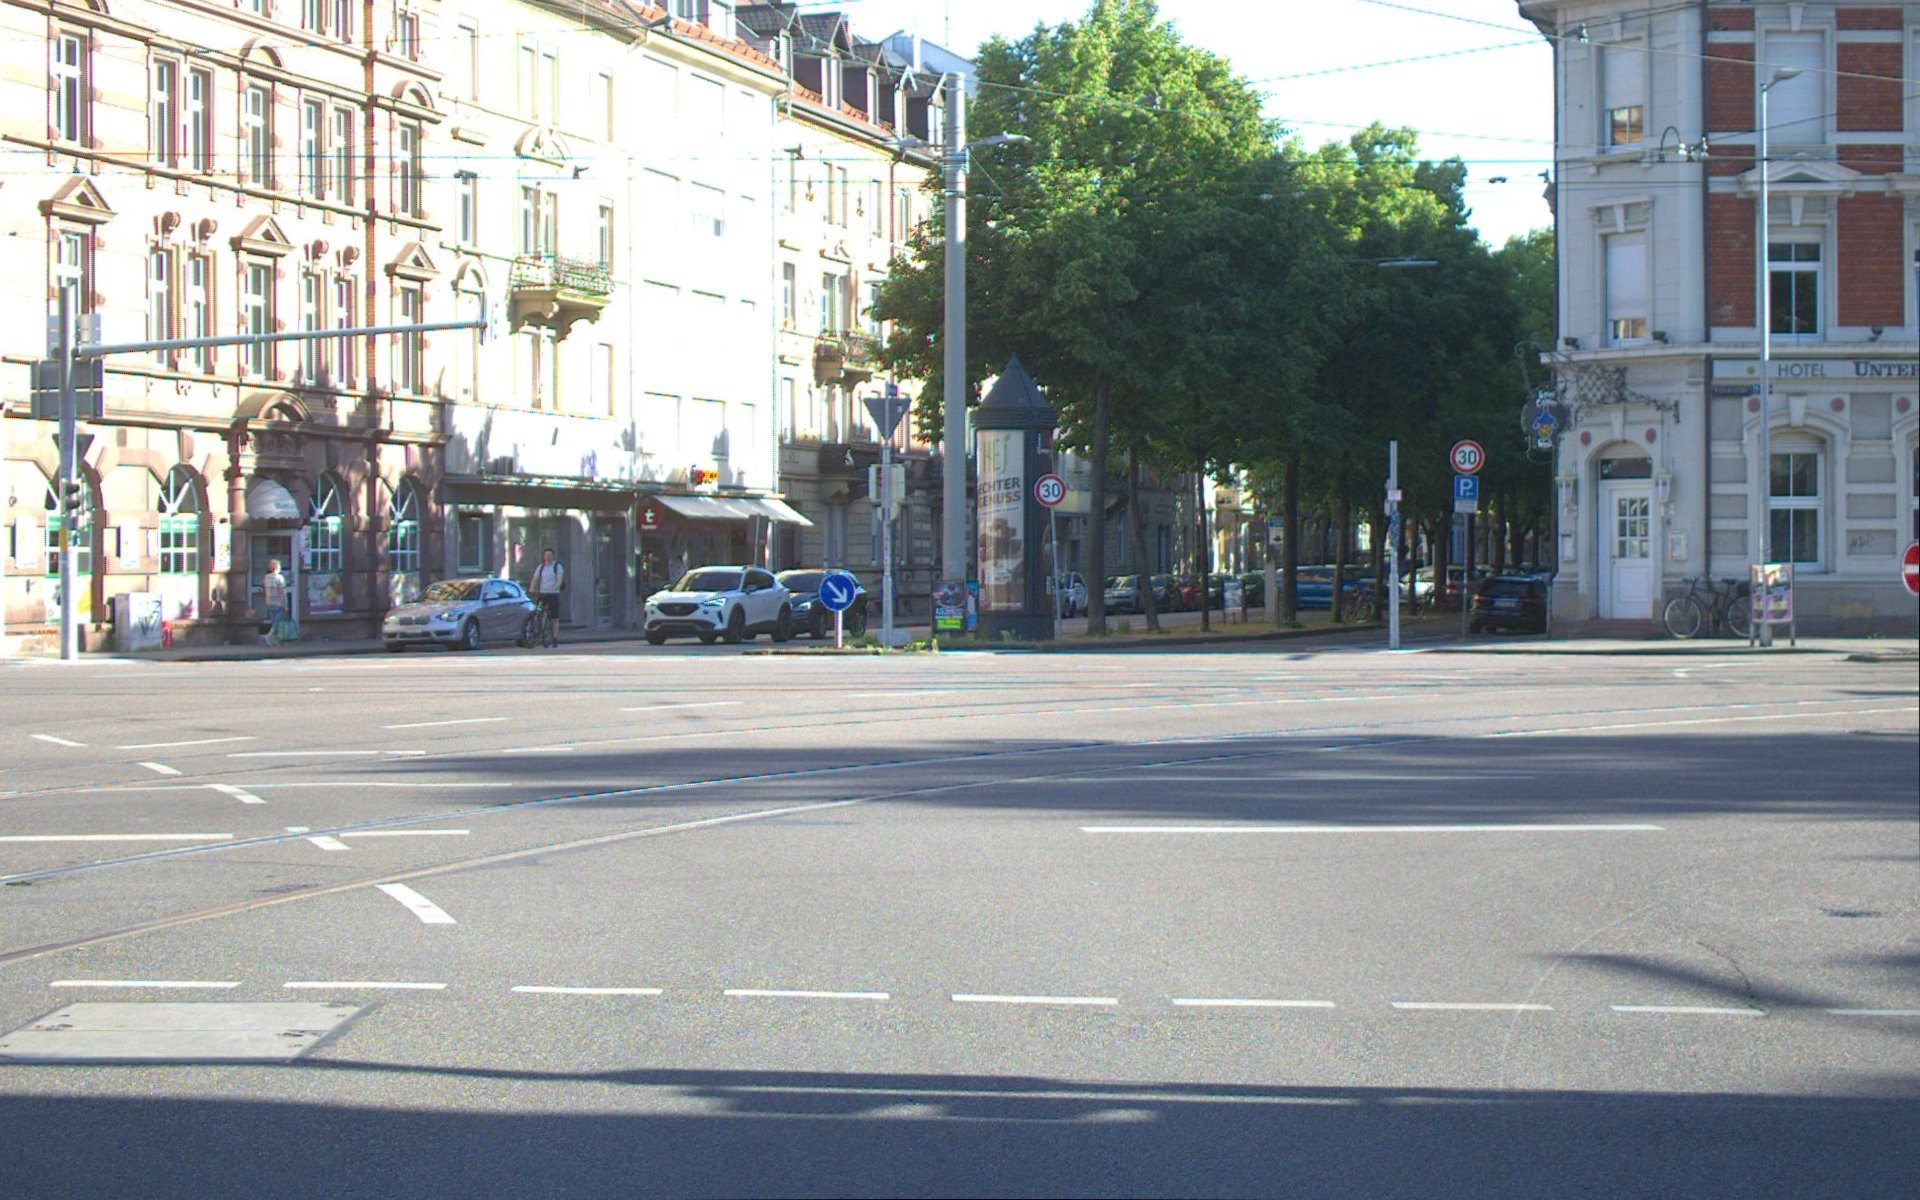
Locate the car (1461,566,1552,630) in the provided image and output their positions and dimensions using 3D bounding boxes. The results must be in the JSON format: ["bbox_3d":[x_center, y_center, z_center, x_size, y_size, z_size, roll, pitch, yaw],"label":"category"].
[{"bbox_3d":[13.150,-0.065,82.577,1.678,1.478,3.945,0,1,16],"label":"car"}]

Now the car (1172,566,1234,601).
[{"bbox_3d":[9.609,-0.663,135.781,1.678,1.349,3.588,0,1,17],"label":"car"}]

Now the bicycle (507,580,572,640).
[{"bbox_3d":[-7.977,0.179,65.267,0.702,1.114,1.634,1,1,13],"label":"bicycle"}]

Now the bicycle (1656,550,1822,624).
[{"bbox_3d":[12.972,-0.214,57.279,2.554,1.170,0.819,1,0,-3],"label":"bicycle"}]

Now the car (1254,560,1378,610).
[{"bbox_3d":[11.990,-0.518,115.681,3.905,1.642,1.681,0,1,17],"label":"car"}]

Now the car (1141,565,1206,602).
[{"bbox_3d":[8.137,-0.623,130.750,1.678,1.349,3.588,0,1,17],"label":"car"}]

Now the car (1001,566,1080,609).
[{"bbox_3d":[2.634,-0.408,111.325,1.678,1.349,3.588,0,1,17],"label":"car"}]

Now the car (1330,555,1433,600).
[{"bbox_3d":[15.710,-0.856,128.037,3.582,1.642,1.681,0,1,17],"label":"car"}]

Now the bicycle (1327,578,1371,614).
[{"bbox_3d":[11.260,-0.112,99.487,0.636,1.018,1.847,1,1,-14],"label":"bicycle"}]

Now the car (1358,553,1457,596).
[{"bbox_3d":[17.384,-1.010,133.510,3.582,1.642,1.681,0,1,17],"label":"car"}]

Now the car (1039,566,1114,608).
[{"bbox_3d":[3.931,-0.452,115.482,1.678,1.349,3.588,0,1,17],"label":"car"}]

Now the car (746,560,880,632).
[{"bbox_3d":[-3.119,-0.108,73.617,1.678,1.478,3.945,0,1,16],"label":"car"}]

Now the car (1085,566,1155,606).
[{"bbox_3d":[5.702,-0.508,122.444,1.678,1.349,3.588,0,1,17],"label":"car"}]

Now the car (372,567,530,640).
[{"bbox_3d":[-9.870,0.050,66.911,1.678,1.349,3.588,0,1,17],"label":"car"}]

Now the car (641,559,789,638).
[{"bbox_3d":[-4.760,-0.058,67.316,1.678,1.478,3.768,0,1,16],"label":"car"}]

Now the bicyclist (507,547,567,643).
[{"bbox_3d":[-8.013,-0.094,65.140,0.779,1.797,1.055,1,0,14],"label":"bicyclist"}]

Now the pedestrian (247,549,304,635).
[{"bbox_3d":[-13.319,-0.157,66.893,0.776,1.664,0.830,1,0,15],"label":"pedestrian"}]
